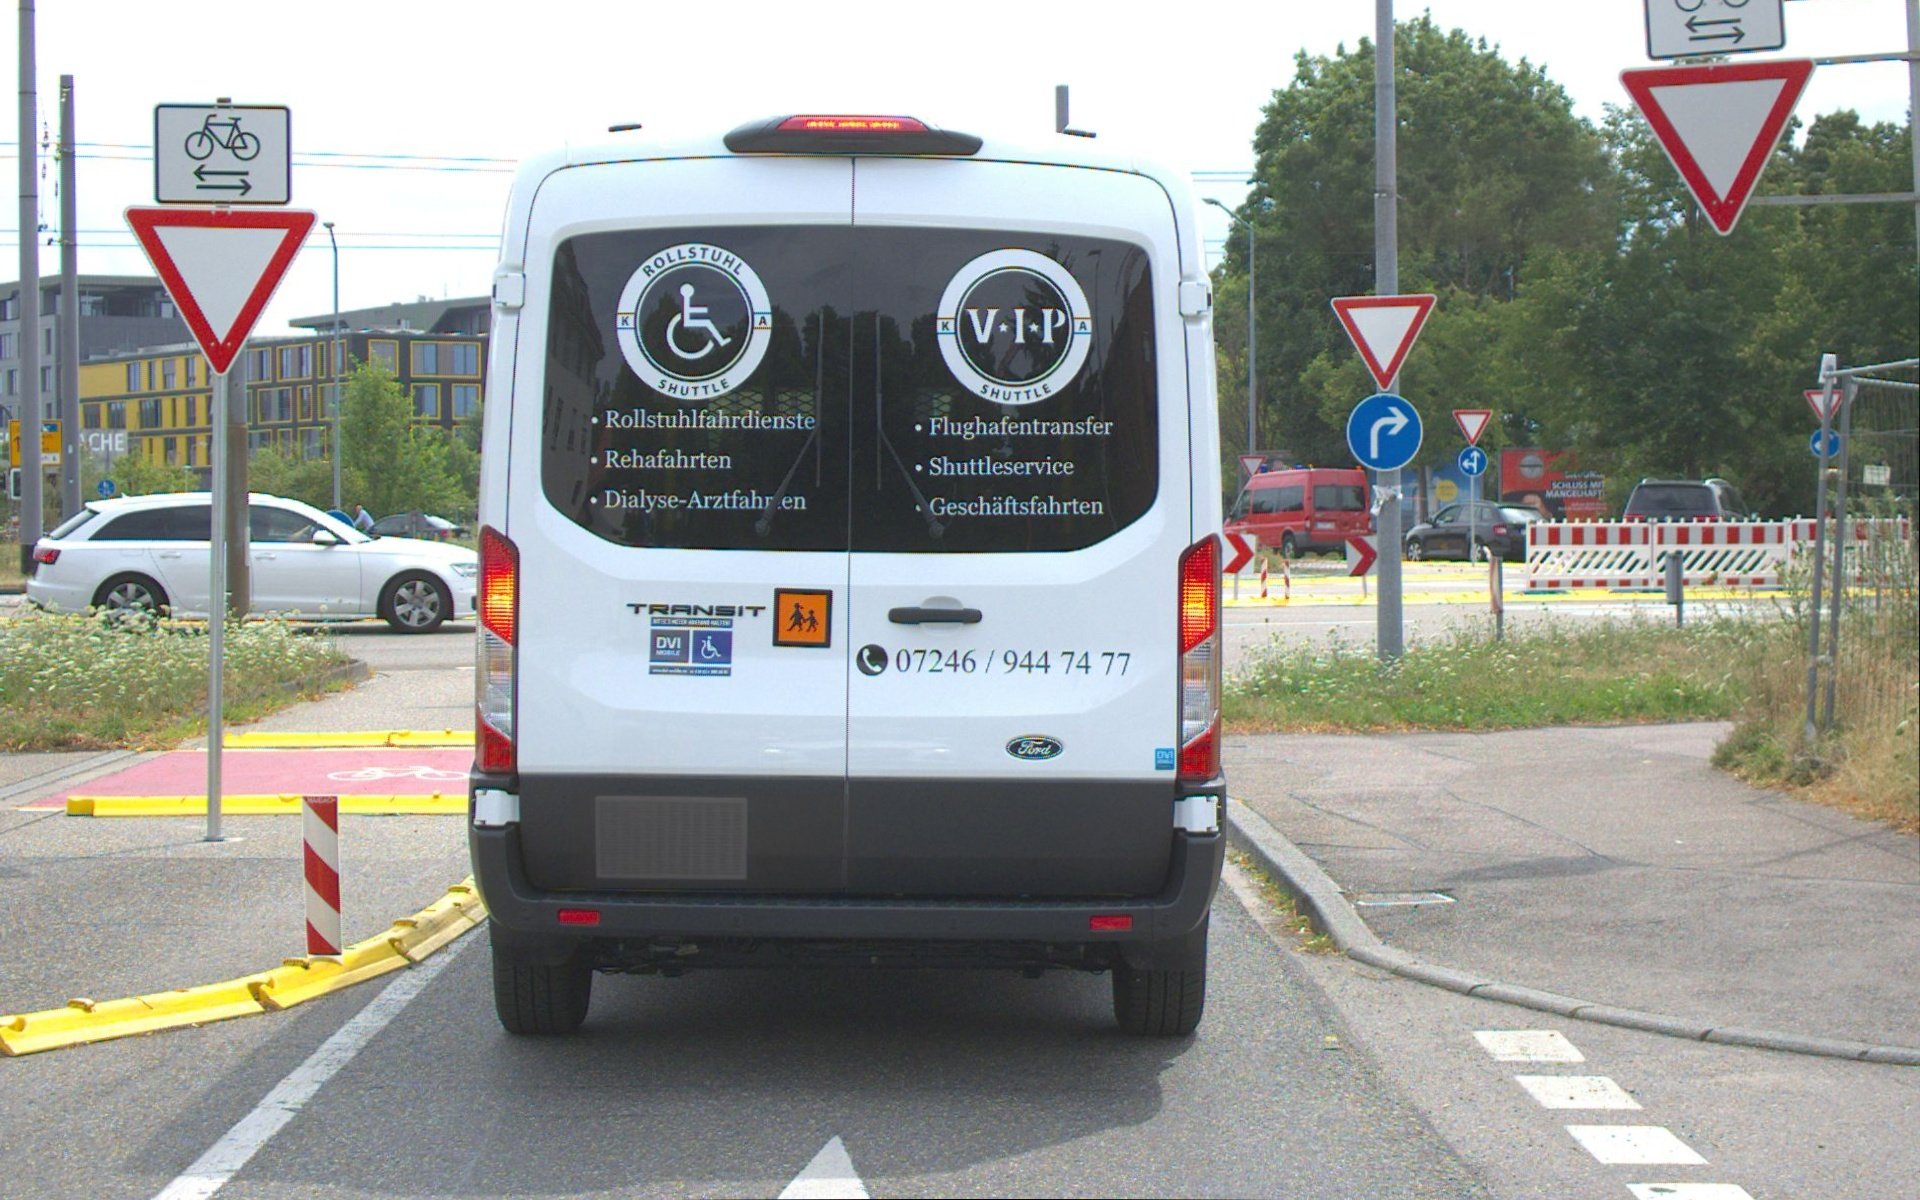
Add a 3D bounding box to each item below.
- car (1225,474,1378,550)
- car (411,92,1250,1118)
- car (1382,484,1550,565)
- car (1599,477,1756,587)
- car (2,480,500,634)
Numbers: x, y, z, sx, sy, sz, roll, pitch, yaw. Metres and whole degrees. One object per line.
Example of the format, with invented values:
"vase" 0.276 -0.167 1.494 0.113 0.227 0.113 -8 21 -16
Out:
"car" 8.678 -2.251 87.738 2.006 1.810 4.413 -3 2 -22
"car" -0.300 -0.059 10.514 2.063 2.531 4.001 0 2 1
"car" 10.990 -1.653 74.854 1.884 1.656 4.001 -3 2 -20
"car" 11.902 -1.152 56.869 1.887 1.656 3.996 -1 2 21
"car" -7.421 -0.473 36.376 5.026 1.573 1.865 0 2 -9
